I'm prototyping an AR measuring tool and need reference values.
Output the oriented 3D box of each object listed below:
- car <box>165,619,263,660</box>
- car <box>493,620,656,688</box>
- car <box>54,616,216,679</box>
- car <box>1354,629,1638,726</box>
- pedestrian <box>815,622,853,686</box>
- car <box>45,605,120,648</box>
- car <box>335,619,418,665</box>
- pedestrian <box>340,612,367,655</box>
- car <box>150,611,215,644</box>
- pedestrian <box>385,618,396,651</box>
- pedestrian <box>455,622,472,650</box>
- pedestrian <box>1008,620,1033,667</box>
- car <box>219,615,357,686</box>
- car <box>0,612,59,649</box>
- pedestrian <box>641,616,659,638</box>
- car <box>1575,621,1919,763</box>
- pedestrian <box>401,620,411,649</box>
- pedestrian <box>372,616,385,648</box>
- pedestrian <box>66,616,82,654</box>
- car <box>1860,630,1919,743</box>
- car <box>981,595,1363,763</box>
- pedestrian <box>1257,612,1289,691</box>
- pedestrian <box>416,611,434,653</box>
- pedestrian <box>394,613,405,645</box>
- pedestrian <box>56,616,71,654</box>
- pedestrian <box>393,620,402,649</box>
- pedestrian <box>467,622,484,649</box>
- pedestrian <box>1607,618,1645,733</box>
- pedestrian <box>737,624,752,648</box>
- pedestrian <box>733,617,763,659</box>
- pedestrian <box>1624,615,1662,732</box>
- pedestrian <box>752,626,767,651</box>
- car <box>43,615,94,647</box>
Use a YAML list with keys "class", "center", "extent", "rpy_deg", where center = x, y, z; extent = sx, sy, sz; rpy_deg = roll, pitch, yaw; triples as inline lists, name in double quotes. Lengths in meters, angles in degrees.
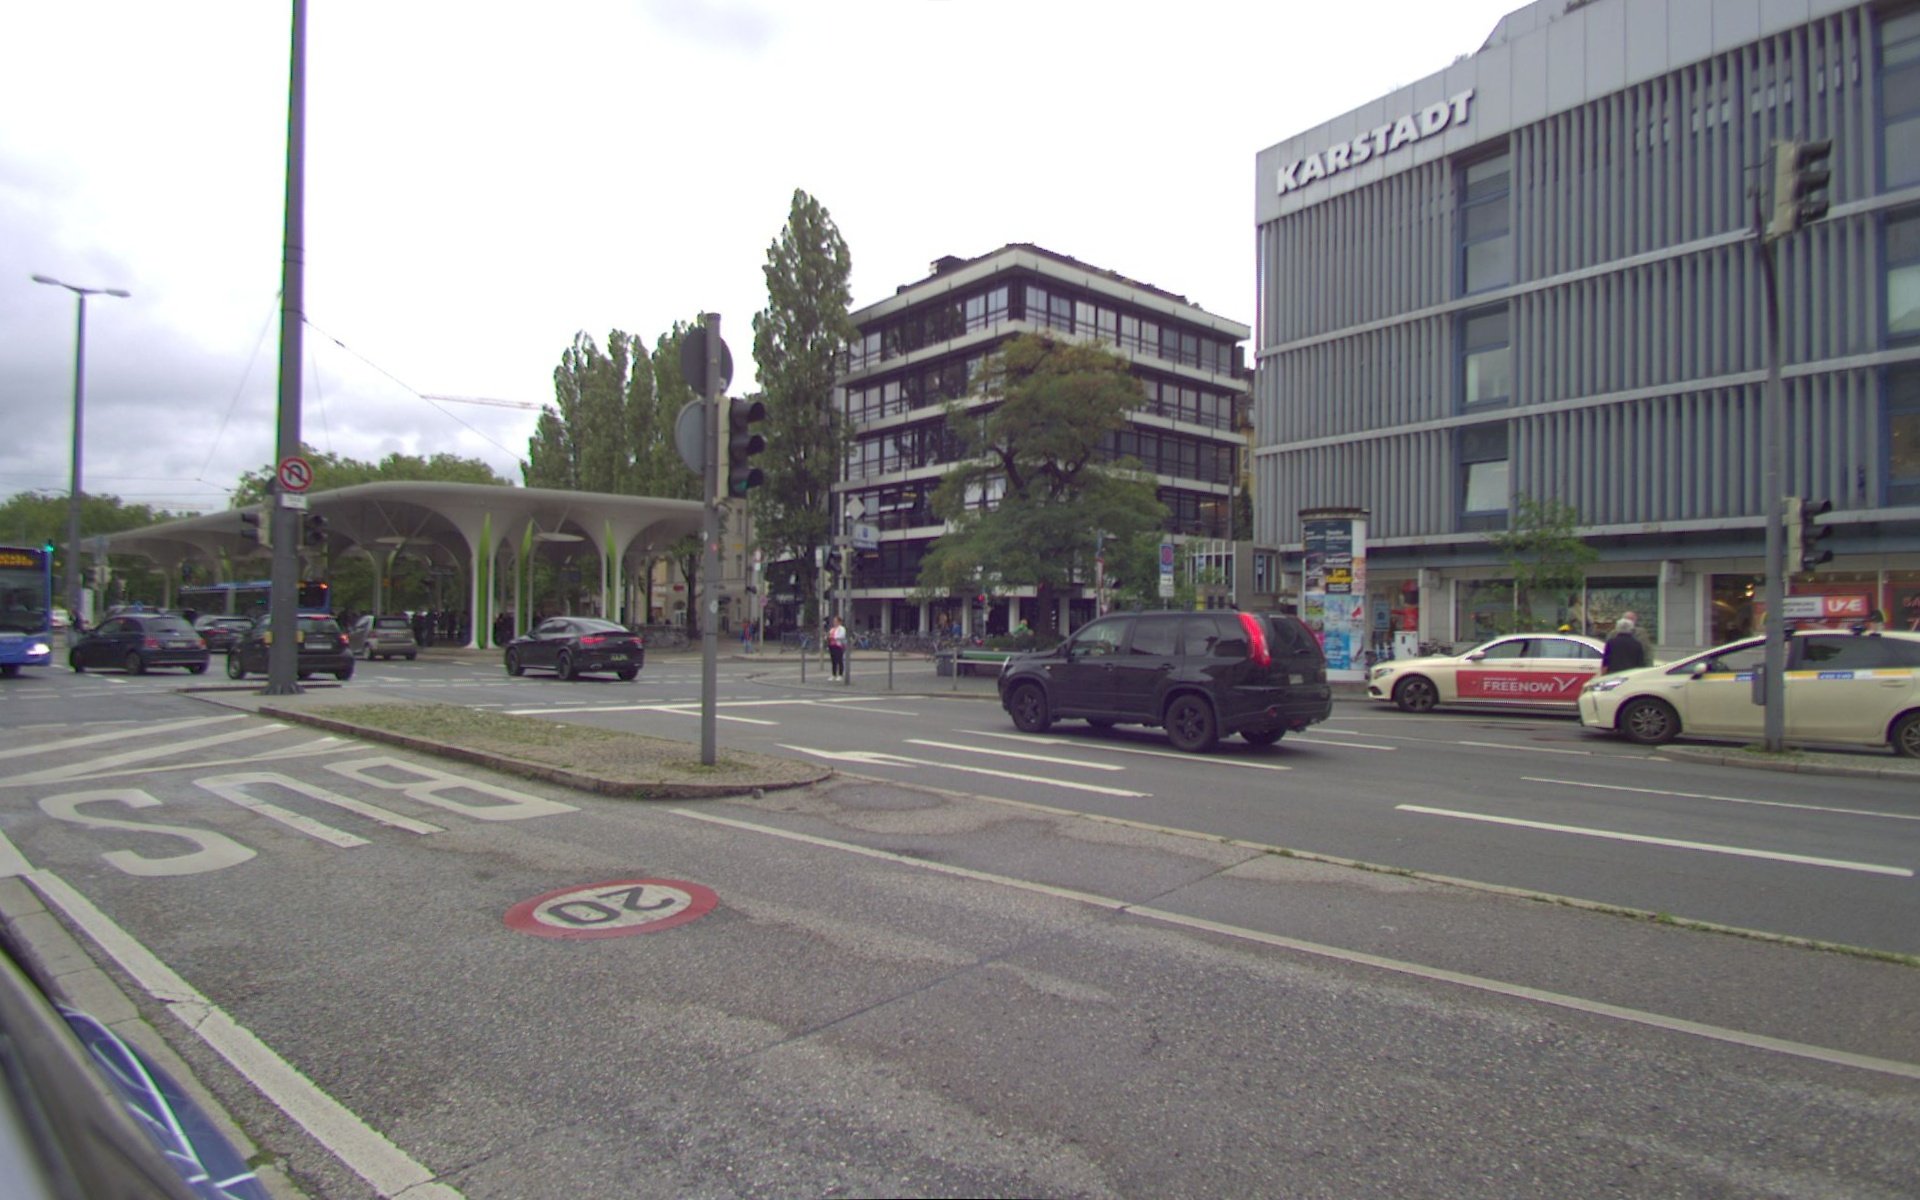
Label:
- class: "car"
  center: [-28.132, 1.453, 38.113]
  extent: [4.612, 1.427, 1.973]
  rpy_deg: [-1, -2, 40]
- class: "car"
  center: [-10.003, 1.335, 26.076]
  extent: [4.614, 1.589, 1.973]
  rpy_deg: [-1, -2, 41]
- class: "car"
  center: [-20.583, 1.167, 25.277]
  extent: [3.363, 1.491, 1.617]
  rpy_deg: [0, -3, 20]
- class: "car"
  center: [9.416, 1.291, 18.090]
  extent: [4.277, 1.522, 1.842]
  rpy_deg: [0, -2, 28]
- class: "pedestrian"
  center: [-3.149, 1.338, 25.357]
  extent: [0.754, 1.563, 0.636]
  rpy_deg: [0, 0, 16]
- class: "car"
  center: [-39.466, 1.185, 45.481]
  extent: [4.306, 1.785, 1.972]
  rpy_deg: [0, -3, 42]
- class: "car"
  center: [-20.362, 1.449, 35.314]
  extent: [2.744, 1.527, 1.653]
  rpy_deg: [-1, -2, 40]
- class: "pedestrian"
  center: [-25.576, 1.414, 42.676]
  extent: [0.788, 1.762, 0.702]
  rpy_deg: [-1, -2, 41]
- class: "car"
  center: [-39.682, 1.387, 51.610]
  extent: [3.999, 1.597, 1.907]
  rpy_deg: [-1, -2, 42]
- class: "pedestrian"
  center: [-26.935, 1.624, 47.831]
  extent: [0.316, 1.514, 0.317]
  rpy_deg: [-1, -2, 32]
- class: "pedestrian"
  center: [-23.941, 1.733, 48.810]
  extent: [0.592, 1.348, 0.542]
  rpy_deg: [-1, -2, 41]
- class: "pedestrian"
  center: [2.278, 1.618, 38.209]
  extent: [0.647, 1.748, 0.757]
  rpy_deg: [-1, -2, 34]
- class: "car"
  center: [-15.538, 1.122, 23.407]
  extent: [2.776, 1.518, 1.547]
  rpy_deg: [0, -1, 29]
- class: "car"
  center: [-41.177, 1.320, 44.511]
  extent: [3.999, 1.481, 1.897]
  rpy_deg: [0, 0, 42]
- class: "pedestrian"
  center: [-24.571, 2.137, 80.114]
  extent: [0.947, 1.786, 0.976]
  rpy_deg: [0, -2, 22]
- class: "car"
  center: [10.714, 1.110, 13.146]
  extent: [4.475, 1.624, 1.570]
  rpy_deg: [-1, -2, 41]
- class: "pedestrian"
  center: [-26.225, 1.642, 47.907]
  extent: [0.270, 1.387, 0.299]
  rpy_deg: [-1, -2, 39]
- class: "pedestrian"
  center: [-27.354, 1.506, 47.593]
  extent: [0.419, 1.514, 0.491]
  rpy_deg: [1, -2, -23]
- class: "pedestrian"
  center: [-33.219, 1.319, 37.935]
  extent: [0.380, 1.430, 0.352]
  rpy_deg: [-1, -2, 41]
- class: "car"
  center: [15.096, 1.225, 13.898]
  extent: [4.002, 1.579, 1.885]
  rpy_deg: [-1, -2, 44]
- class: "car"
  center: [2.573, 0.903, 13.182]
  extent: [1.969, 1.791, 4.604]
  rpy_deg: [2, -2, -42]
- class: "pedestrian"
  center: [7.247, 1.168, 23.458]
  extent: [0.510, 1.792, 0.555]
  rpy_deg: [0, 0, 44]
- class: "pedestrian"
  center: [-23.750, 1.418, 44.932]
  extent: [0.656, 1.865, 0.790]
  rpy_deg: [2, -2, -29]
- class: "pedestrian"
  center: [-26.579, 1.381, 48.009]
  extent: [0.316, 1.514, 0.331]
  rpy_deg: [-1, -2, 32]
- class: "pedestrian"
  center: [-33.657, 1.318, 37.988]
  extent: [0.380, 1.430, 0.352]
  rpy_deg: [-1, -2, 41]
- class: "pedestrian"
  center: [-26.437, 1.602, 47.574]
  extent: [0.312, 1.353, 0.340]
  rpy_deg: [2, -2, -32]
- class: "pedestrian"
  center: [-23.613, 1.728, 49.335]
  extent: [0.592, 1.348, 0.542]
  rpy_deg: [-1, -2, 41]
- class: "pedestrian"
  center: [9.955, 1.115, 15.124]
  extent: [0.425, 1.668, 0.360]
  rpy_deg: [0, 0, 41]
- class: "pedestrian"
  center: [-16.076, 2.684, 75.430]
  extent: [0.788, 1.737, 0.828]
  rpy_deg: [2, -2, -37]
- class: "pedestrian"
  center: [-9.297, 1.658, 44.324]
  extent: [0.980, 1.791, 0.849]
  rpy_deg: [-1, -2, 42]
- class: "pedestrian"
  center: [10.541, 1.116, 15.617]
  extent: [0.428, 1.742, 0.518]
  rpy_deg: [0, 0, 41]
- class: "pedestrian"
  center: [-13.910, 2.646, 70.267]
  extent: [0.821, 1.712, 0.907]
  rpy_deg: [1, -2, -27]
- class: "car"
  center: [-50.741, 1.719, 57.576]
  extent: [4.000, 1.696, 1.737]
  rpy_deg: [0, 0, 42]
